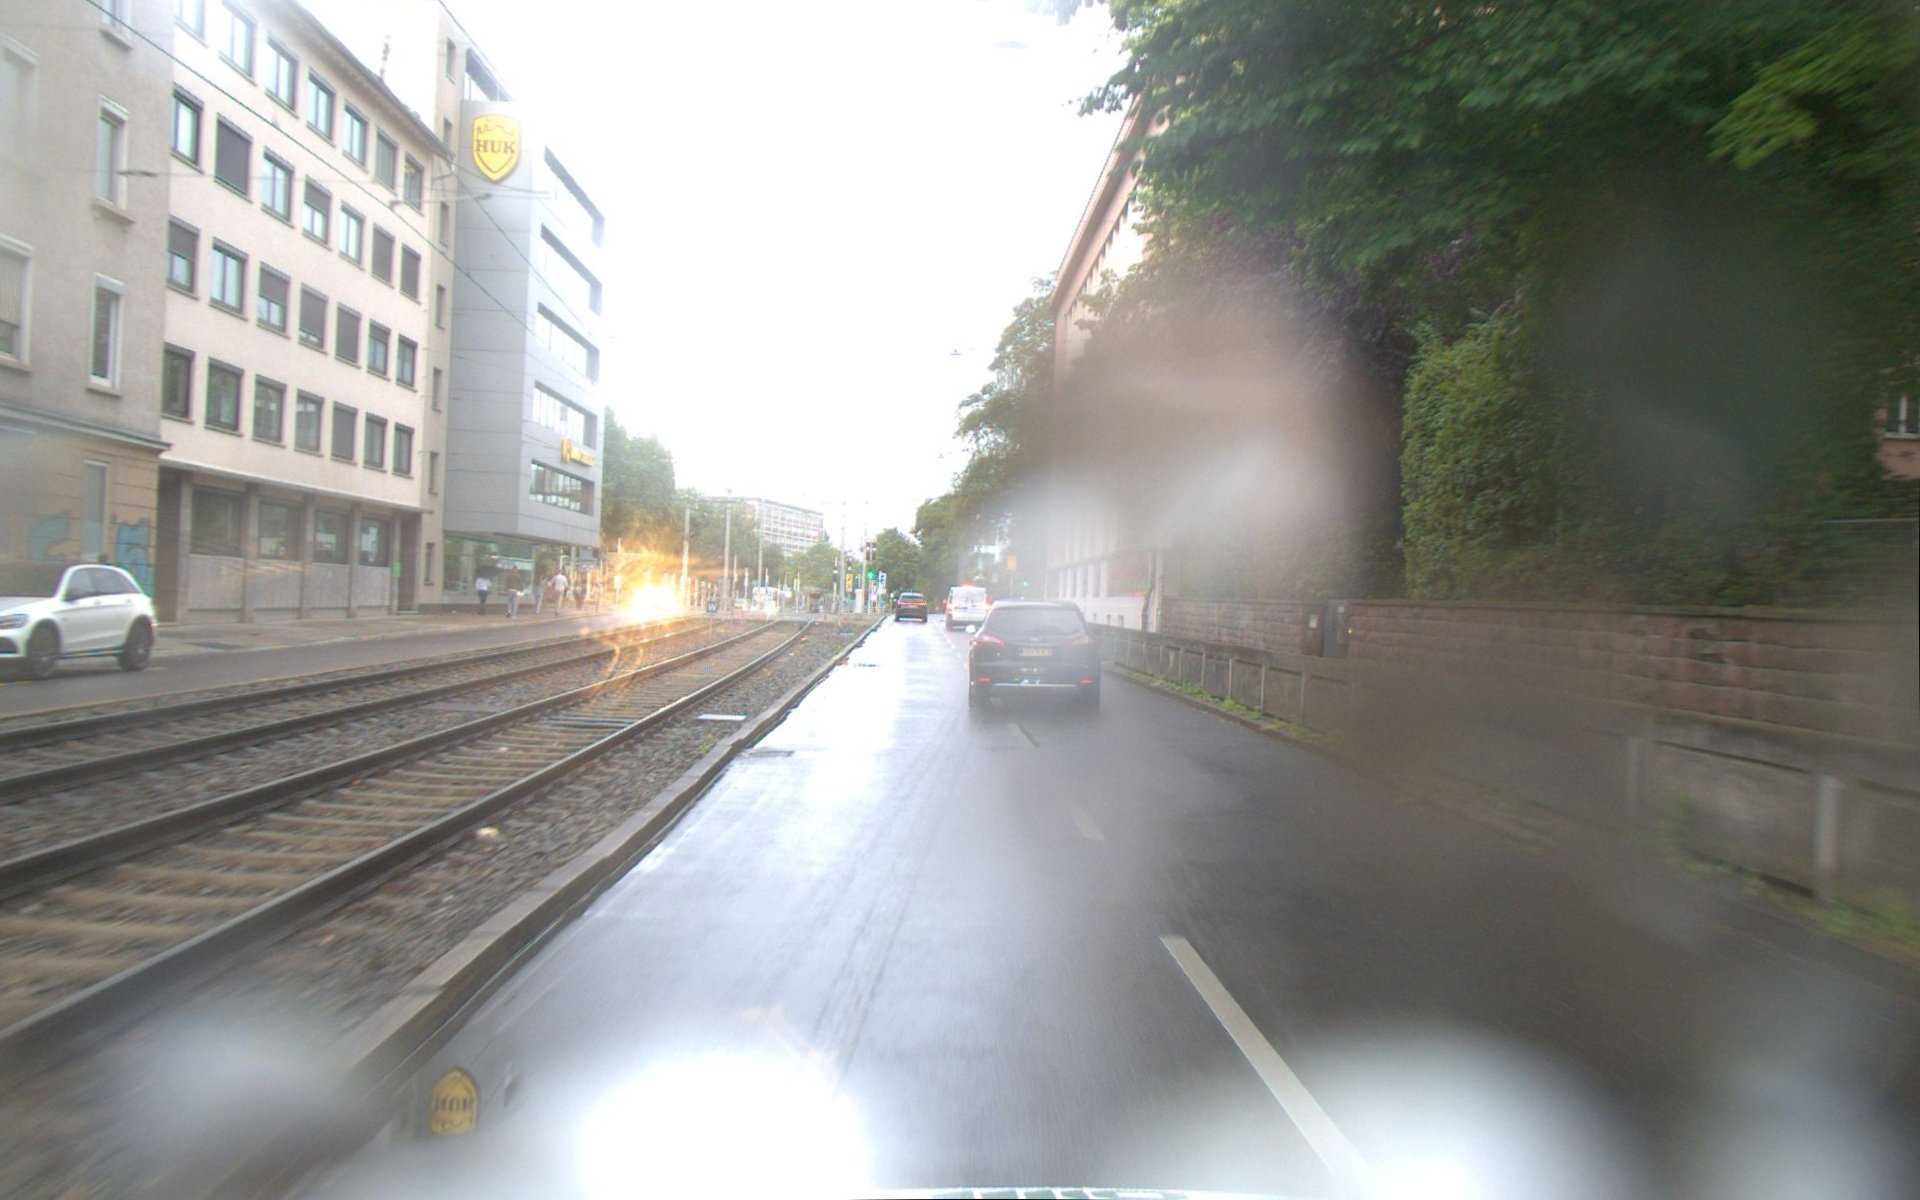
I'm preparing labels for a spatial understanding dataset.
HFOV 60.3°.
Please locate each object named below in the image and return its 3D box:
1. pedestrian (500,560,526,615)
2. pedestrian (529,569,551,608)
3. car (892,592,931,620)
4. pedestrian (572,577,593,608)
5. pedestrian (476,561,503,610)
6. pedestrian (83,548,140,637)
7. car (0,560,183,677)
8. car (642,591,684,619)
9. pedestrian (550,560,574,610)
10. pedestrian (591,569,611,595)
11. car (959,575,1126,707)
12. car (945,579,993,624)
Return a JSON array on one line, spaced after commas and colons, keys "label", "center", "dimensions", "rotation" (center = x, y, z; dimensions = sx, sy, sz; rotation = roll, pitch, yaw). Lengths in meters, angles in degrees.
[{"label": "pedestrian", "center": [-17.275, -0.482, 63.896], "dimensions": [0.647, 2.048, 0.810], "rotation": [4, -1, -1]}, {"label": "pedestrian", "center": [-17.840, -0.492, 70.268], "dimensions": [0.575, 1.621, 0.636], "rotation": [4, -1, 15]}, {"label": "car", "center": [-2.677, 0.337, 92.487], "dimensions": [2.056, 1.532, 4.731], "rotation": [1, 0, 0]}, {"label": "pedestrian", "center": [-21.099, -0.424, 92.511], "dimensions": [0.952, 1.621, 0.584], "rotation": [4, -1, -27]}, {"label": "pedestrian", "center": [-18.137, -0.558, 63.738], "dimensions": [0.647, 1.847, 0.973], "rotation": [4, -1, -1]}, {"label": "pedestrian", "center": [-16.201, -0.142, 31.603], "dimensions": [0.535, 1.640, 0.798], "rotation": [5, 0, 1]}, {"label": "car", "center": [-13.602, 0.258, 24.595], "dimensions": [1.953, 1.563, 4.747], "rotation": [-1, 0, -2]}, {"label": "car", "center": [-16.954, 0.280, 94.537], "dimensions": [1.902, 1.563, 4.344], "rotation": [-1, 0, -5]}, {"label": "pedestrian", "center": [-16.965, -0.638, 70.539], "dimensions": [0.657, 2.048, 0.608], "rotation": [4, -1, -40]}, {"label": "pedestrian", "center": [-23.448, -1.187, 107.930], "dimensions": [0.891, 1.621, 1.004], "rotation": [4, -1, 6]}, {"label": "car", "center": [1.060, 0.519, 23.471], "dimensions": [1.995, 1.612, 4.391], "rotation": [2, 0, -1]}, {"label": "car", "center": [0.396, 0.060, 73.149], "dimensions": [1.994, 1.872, 4.392], "rotation": [2, 0, 0]}]
